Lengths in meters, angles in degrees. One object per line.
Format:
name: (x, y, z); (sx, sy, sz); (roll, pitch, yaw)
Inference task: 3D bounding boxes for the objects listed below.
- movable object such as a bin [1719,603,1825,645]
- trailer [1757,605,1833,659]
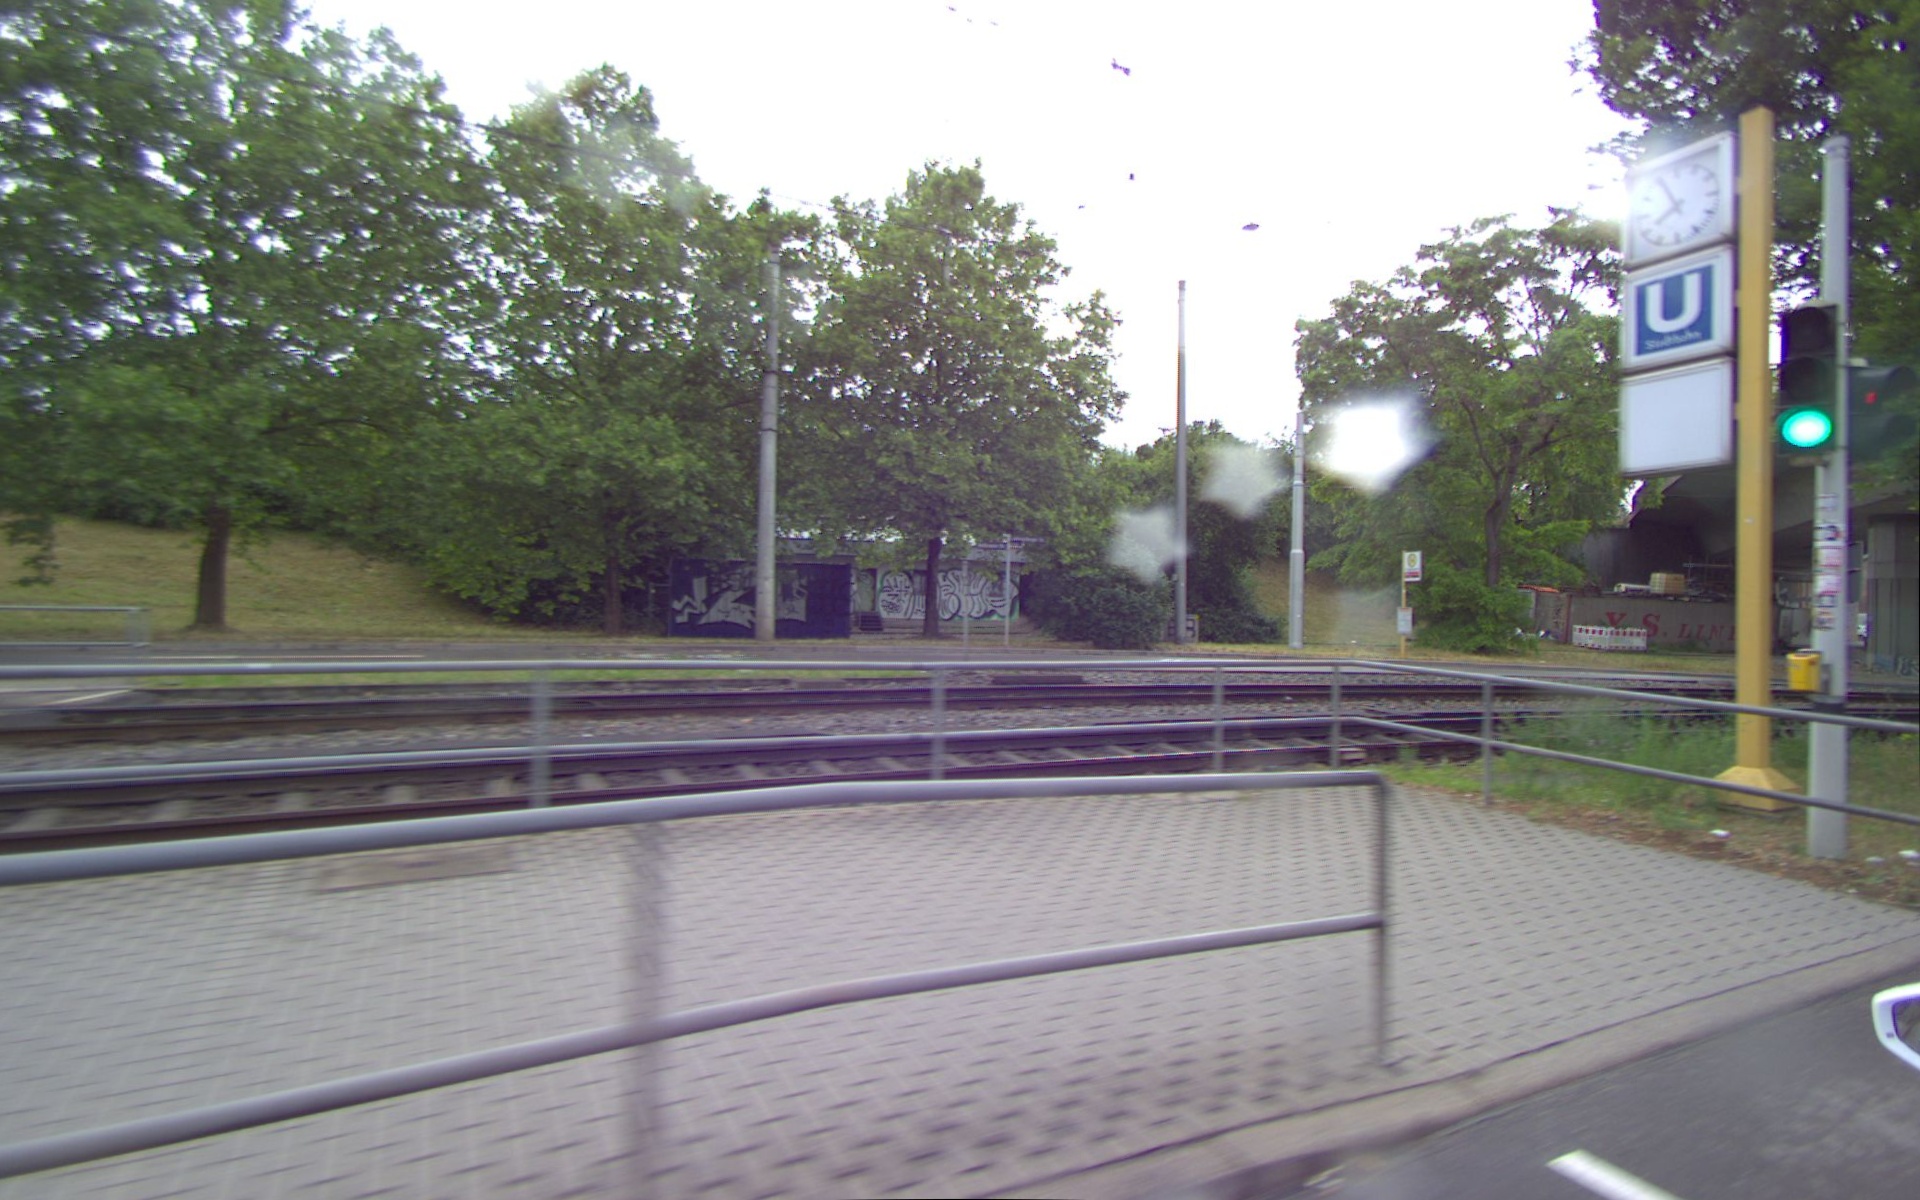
movable object such as a bin: (54.303, 1.599, 67.234); (5.366, 2.486, 2.629); (2, 1, -12)
trailer: (45.269, 1.714, 54.568); (1.962, 2.761, 4.121); (3, 0, 23)
